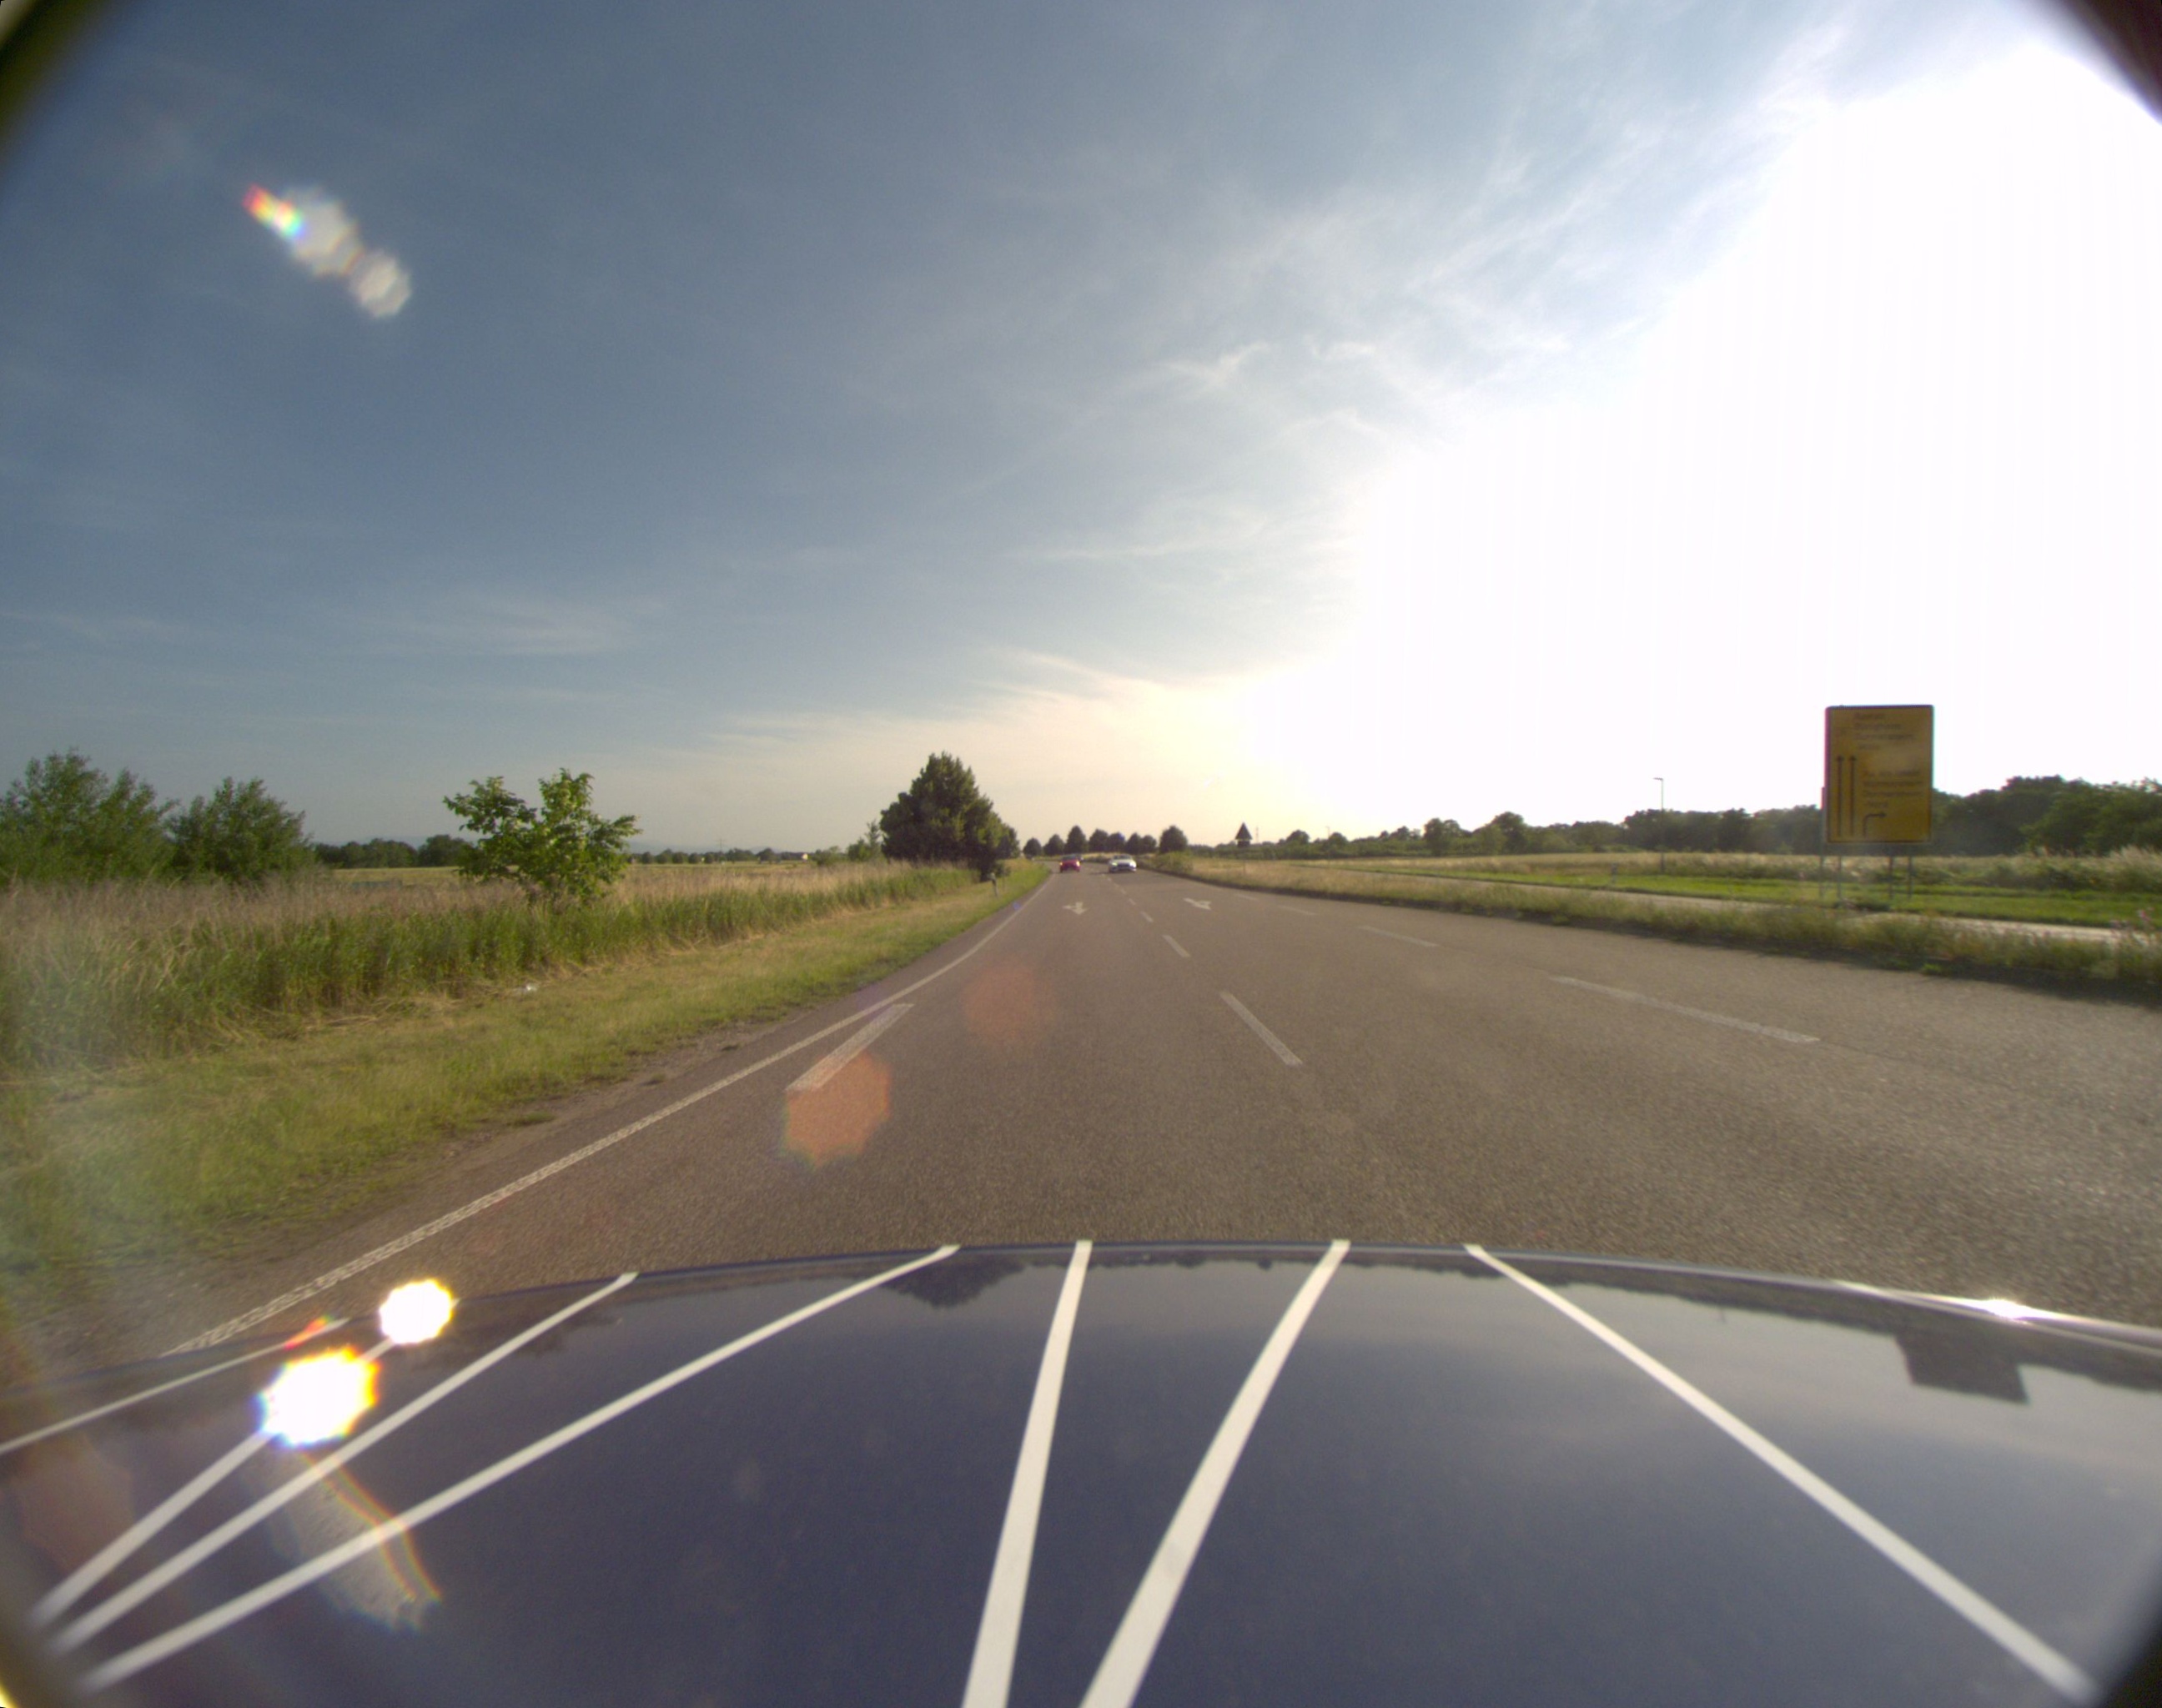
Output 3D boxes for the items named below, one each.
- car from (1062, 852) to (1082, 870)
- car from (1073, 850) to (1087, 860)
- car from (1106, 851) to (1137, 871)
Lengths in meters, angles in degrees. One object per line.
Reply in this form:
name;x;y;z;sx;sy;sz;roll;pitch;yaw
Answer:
car;-0.777;0.582;66.470;1.665;1.456;3.954;-2;1;0
car;-0.156;0.174;115.392;1.689;1.455;3.953;-1;0;-5
car;3.116;0.486;58.863;1.876;1.390;4.202;-2;1;-3
